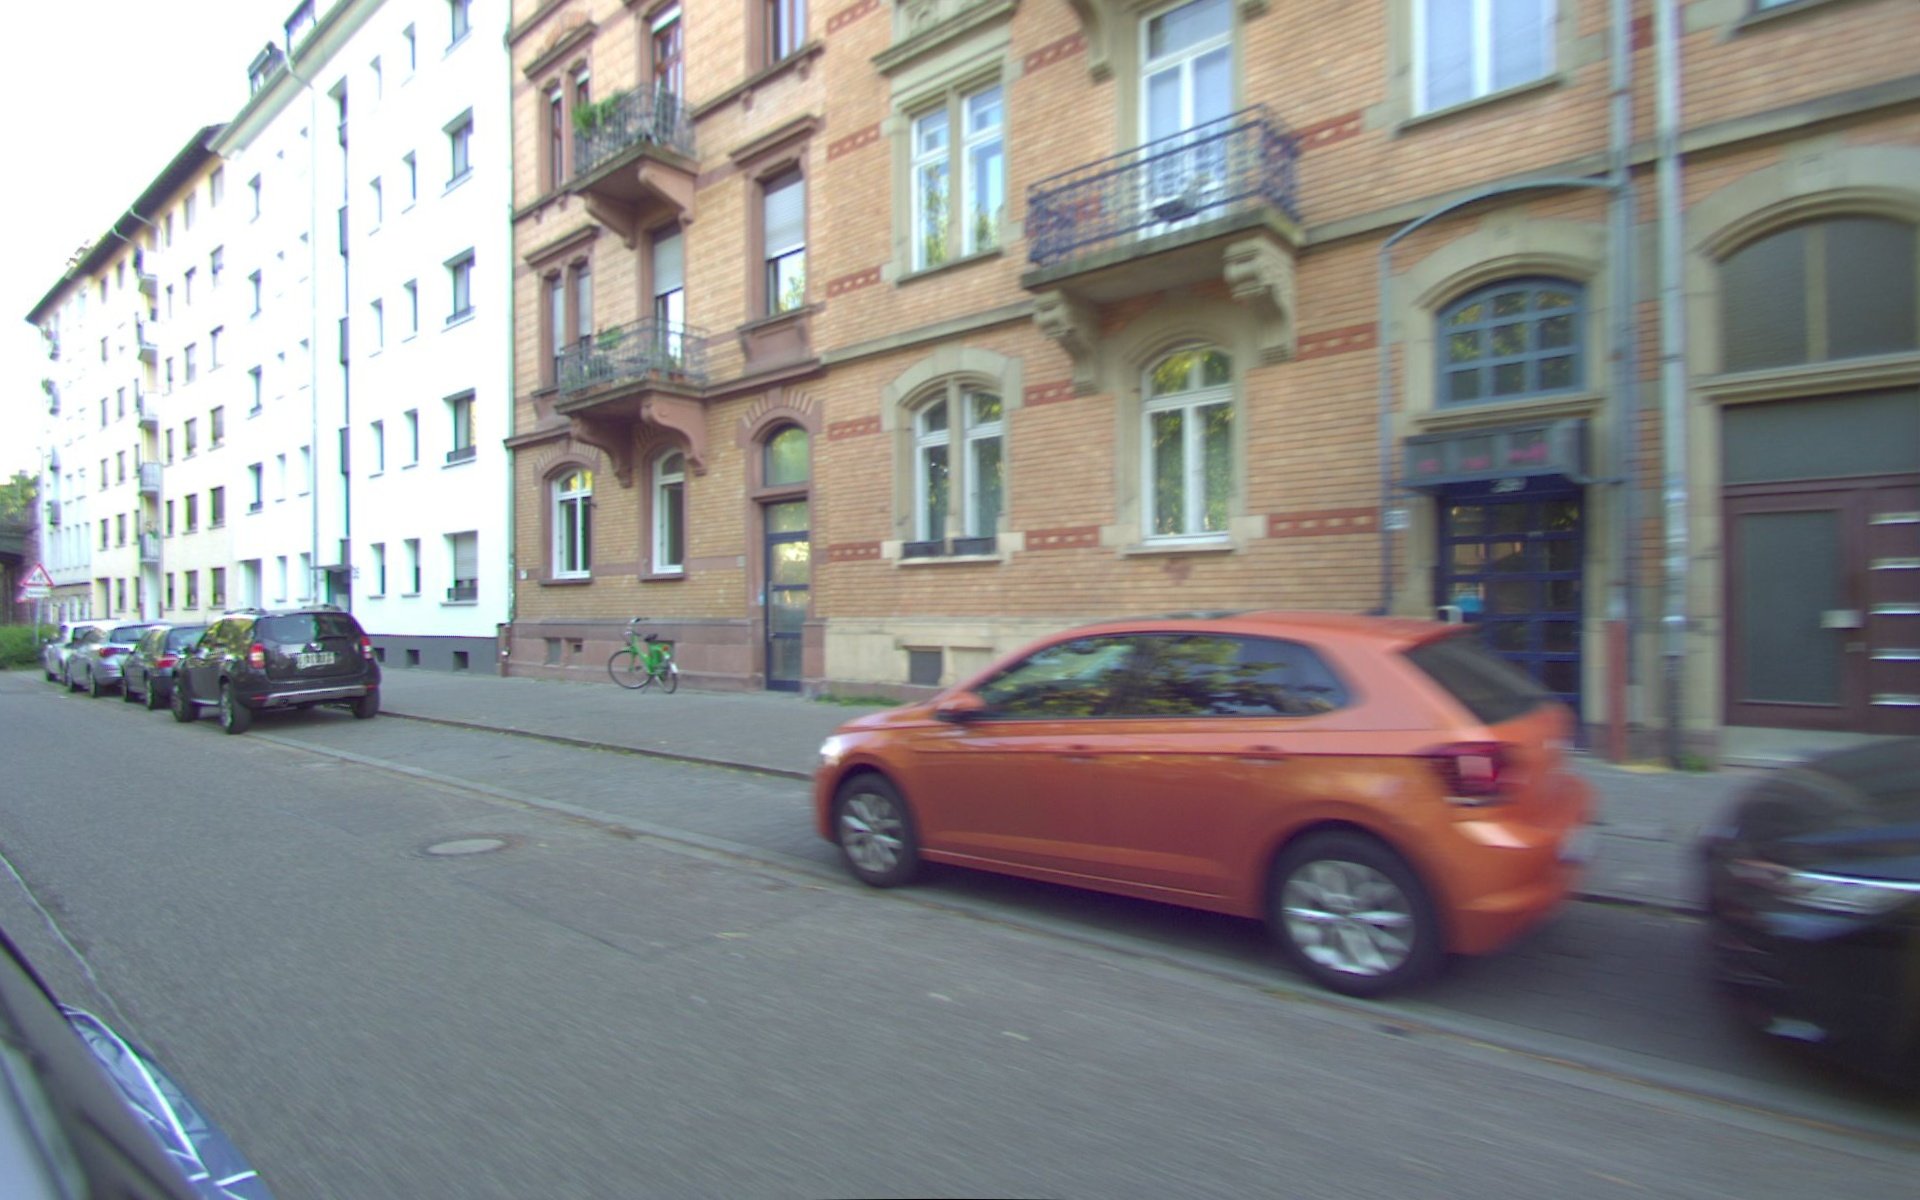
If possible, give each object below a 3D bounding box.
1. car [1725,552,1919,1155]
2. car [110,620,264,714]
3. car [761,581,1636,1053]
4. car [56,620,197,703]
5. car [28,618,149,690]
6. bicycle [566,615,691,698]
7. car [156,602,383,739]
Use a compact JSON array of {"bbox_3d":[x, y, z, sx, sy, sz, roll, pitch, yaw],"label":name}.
[{"bbox_3d":[4.401,0.611,2.302,4.142,1.558,1.732,-1,1,35],"label":"car"},{"bbox_3d":[-14.220,1.149,18.534,4.001,1.462,1.598,-2,1,44],"label":"car"},{"bbox_3d":[0.972,0.727,5.195,3.996,1.475,1.736,-2,1,39],"label":"car"},{"bbox_3d":[-17.724,1.220,21.452,4.283,1.482,1.651,-1,2,42],"label":"car"},{"bbox_3d":[-21.482,1.270,24.905,3.998,1.519,1.651,-1,2,41],"label":"car"},{"bbox_3d":[-5.318,0.878,16.121,2.513,1.216,0.729,-2,-1,42],"label":"bicycle"},{"bbox_3d":[-10.256,0.931,14.908,4.198,1.719,1.734,-1,0,41],"label":"car"}]
